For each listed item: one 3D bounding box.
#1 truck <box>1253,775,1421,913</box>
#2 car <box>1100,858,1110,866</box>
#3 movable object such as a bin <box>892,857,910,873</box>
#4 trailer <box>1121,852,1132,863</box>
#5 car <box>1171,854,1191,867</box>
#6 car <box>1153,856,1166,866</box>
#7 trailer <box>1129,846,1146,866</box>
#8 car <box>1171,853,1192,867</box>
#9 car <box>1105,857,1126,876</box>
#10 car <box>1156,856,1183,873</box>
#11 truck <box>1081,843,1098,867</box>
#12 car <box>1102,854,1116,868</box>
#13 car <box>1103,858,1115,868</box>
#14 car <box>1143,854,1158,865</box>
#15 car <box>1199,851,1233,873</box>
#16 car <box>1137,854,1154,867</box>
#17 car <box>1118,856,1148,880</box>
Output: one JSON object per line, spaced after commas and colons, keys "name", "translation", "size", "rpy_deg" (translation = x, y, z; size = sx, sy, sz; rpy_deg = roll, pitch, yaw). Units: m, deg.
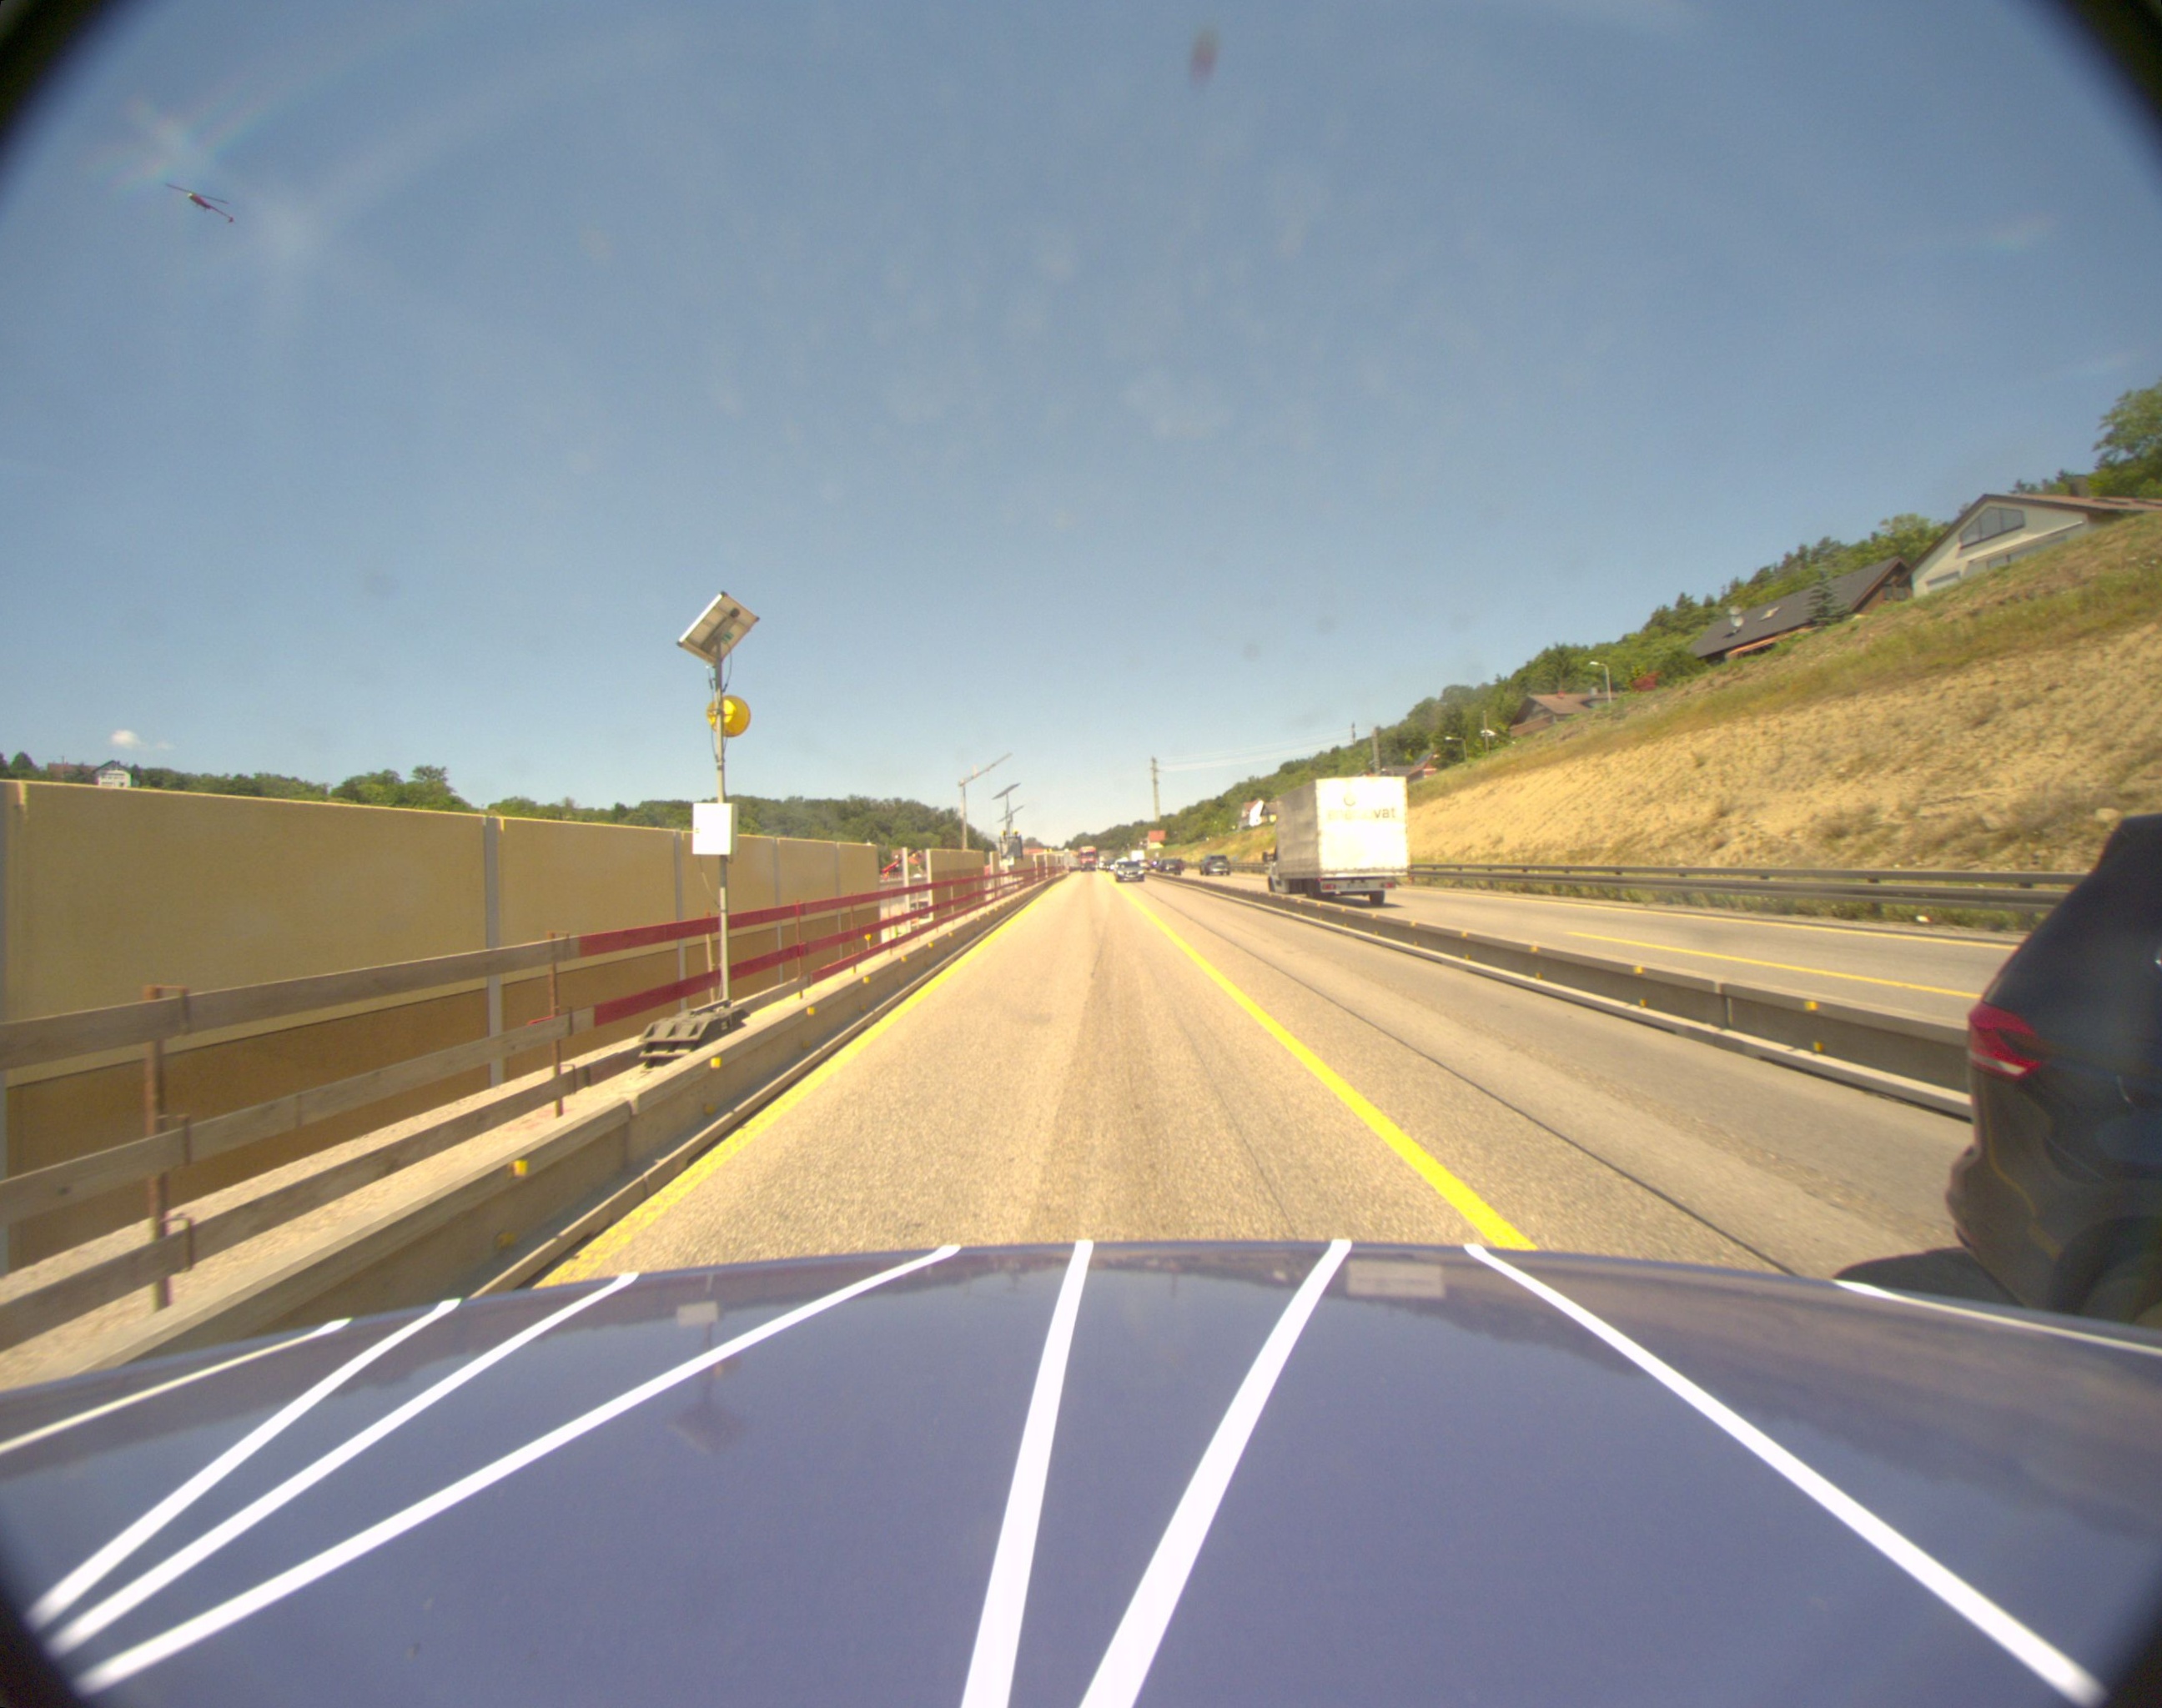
{"name": "truck", "translation": [7.218, -0.245, 22.543], "size": [2.544, 3.354, 7.038], "rpy_deg": [-3, 0, 1]}
{"name": "car", "translation": [4.560, 1.503, 143.202], "size": [1.780, 1.485, 4.337], "rpy_deg": [-2, -1, 1]}
{"name": "movable object such as a bin", "translation": [-35.972, 2.277, 152.312], "size": [2.202, 3.065, 4.919], "rpy_deg": [-2, -1, 1]}
{"name": "trailer", "translation": [12.944, 0.931, 215.323], "size": [2.619, 2.983, 6.371], "rpy_deg": [-2, 0, 1]}
{"name": "car", "translation": [11.631, 0.786, 88.568], "size": [1.780, 1.485, 4.337], "rpy_deg": [-2, -1, 1]}
{"name": "car", "translation": [12.226, 1.095, 118.604], "size": [1.714, 1.410, 4.243], "rpy_deg": [-2, 0, 1]}
{"name": "trailer", "translation": [12.697, 0.466, 171.591], "size": [2.792, 4.157, 13.980], "rpy_deg": [-2, 0, 1]}
{"name": "car", "translation": [11.724, 0.715, 88.950], "size": [1.689, 1.576, 5.126], "rpy_deg": [-3, 0, 1]}
{"name": "car", "translation": [3.227, 1.205, 71.394], "size": [1.780, 1.682, 4.337], "rpy_deg": [-2, -1, 1]}
{"name": "car", "translation": [7.649, 0.880, 66.129], "size": [1.801, 1.419, 4.950], "rpy_deg": [-2, 0, 1]}
{"name": "truck", "translation": [1.475, 0.305, 125.276], "size": [2.605, 3.703, 10.538], "rpy_deg": [-2, -1, 1]}
{"name": "car", "translation": [3.840, 0.938, 103.487], "size": [1.780, 1.727, 4.337], "rpy_deg": [-2, -1, 1]}
{"name": "car", "translation": [4.511, 1.471, 122.166], "size": [1.780, 1.485, 4.337], "rpy_deg": [-2, -1, 1]}
{"name": "car", "translation": [12.222, 1.032, 134.060], "size": [2.043, 1.915, 5.122], "rpy_deg": [-1, 0, 0]}
{"name": "car", "translation": [10.756, 0.633, 60.927], "size": [1.858, 1.662, 4.668], "rpy_deg": [-2, 0, 1]}
{"name": "car", "translation": [8.427, 0.819, 100.283], "size": [1.849, 1.655, 4.688], "rpy_deg": [-3, 0, 1]}
{"name": "car", "translation": [3.453, 0.943, 50.892], "size": [1.780, 1.447, 4.337], "rpy_deg": [-2, -1, 1]}
